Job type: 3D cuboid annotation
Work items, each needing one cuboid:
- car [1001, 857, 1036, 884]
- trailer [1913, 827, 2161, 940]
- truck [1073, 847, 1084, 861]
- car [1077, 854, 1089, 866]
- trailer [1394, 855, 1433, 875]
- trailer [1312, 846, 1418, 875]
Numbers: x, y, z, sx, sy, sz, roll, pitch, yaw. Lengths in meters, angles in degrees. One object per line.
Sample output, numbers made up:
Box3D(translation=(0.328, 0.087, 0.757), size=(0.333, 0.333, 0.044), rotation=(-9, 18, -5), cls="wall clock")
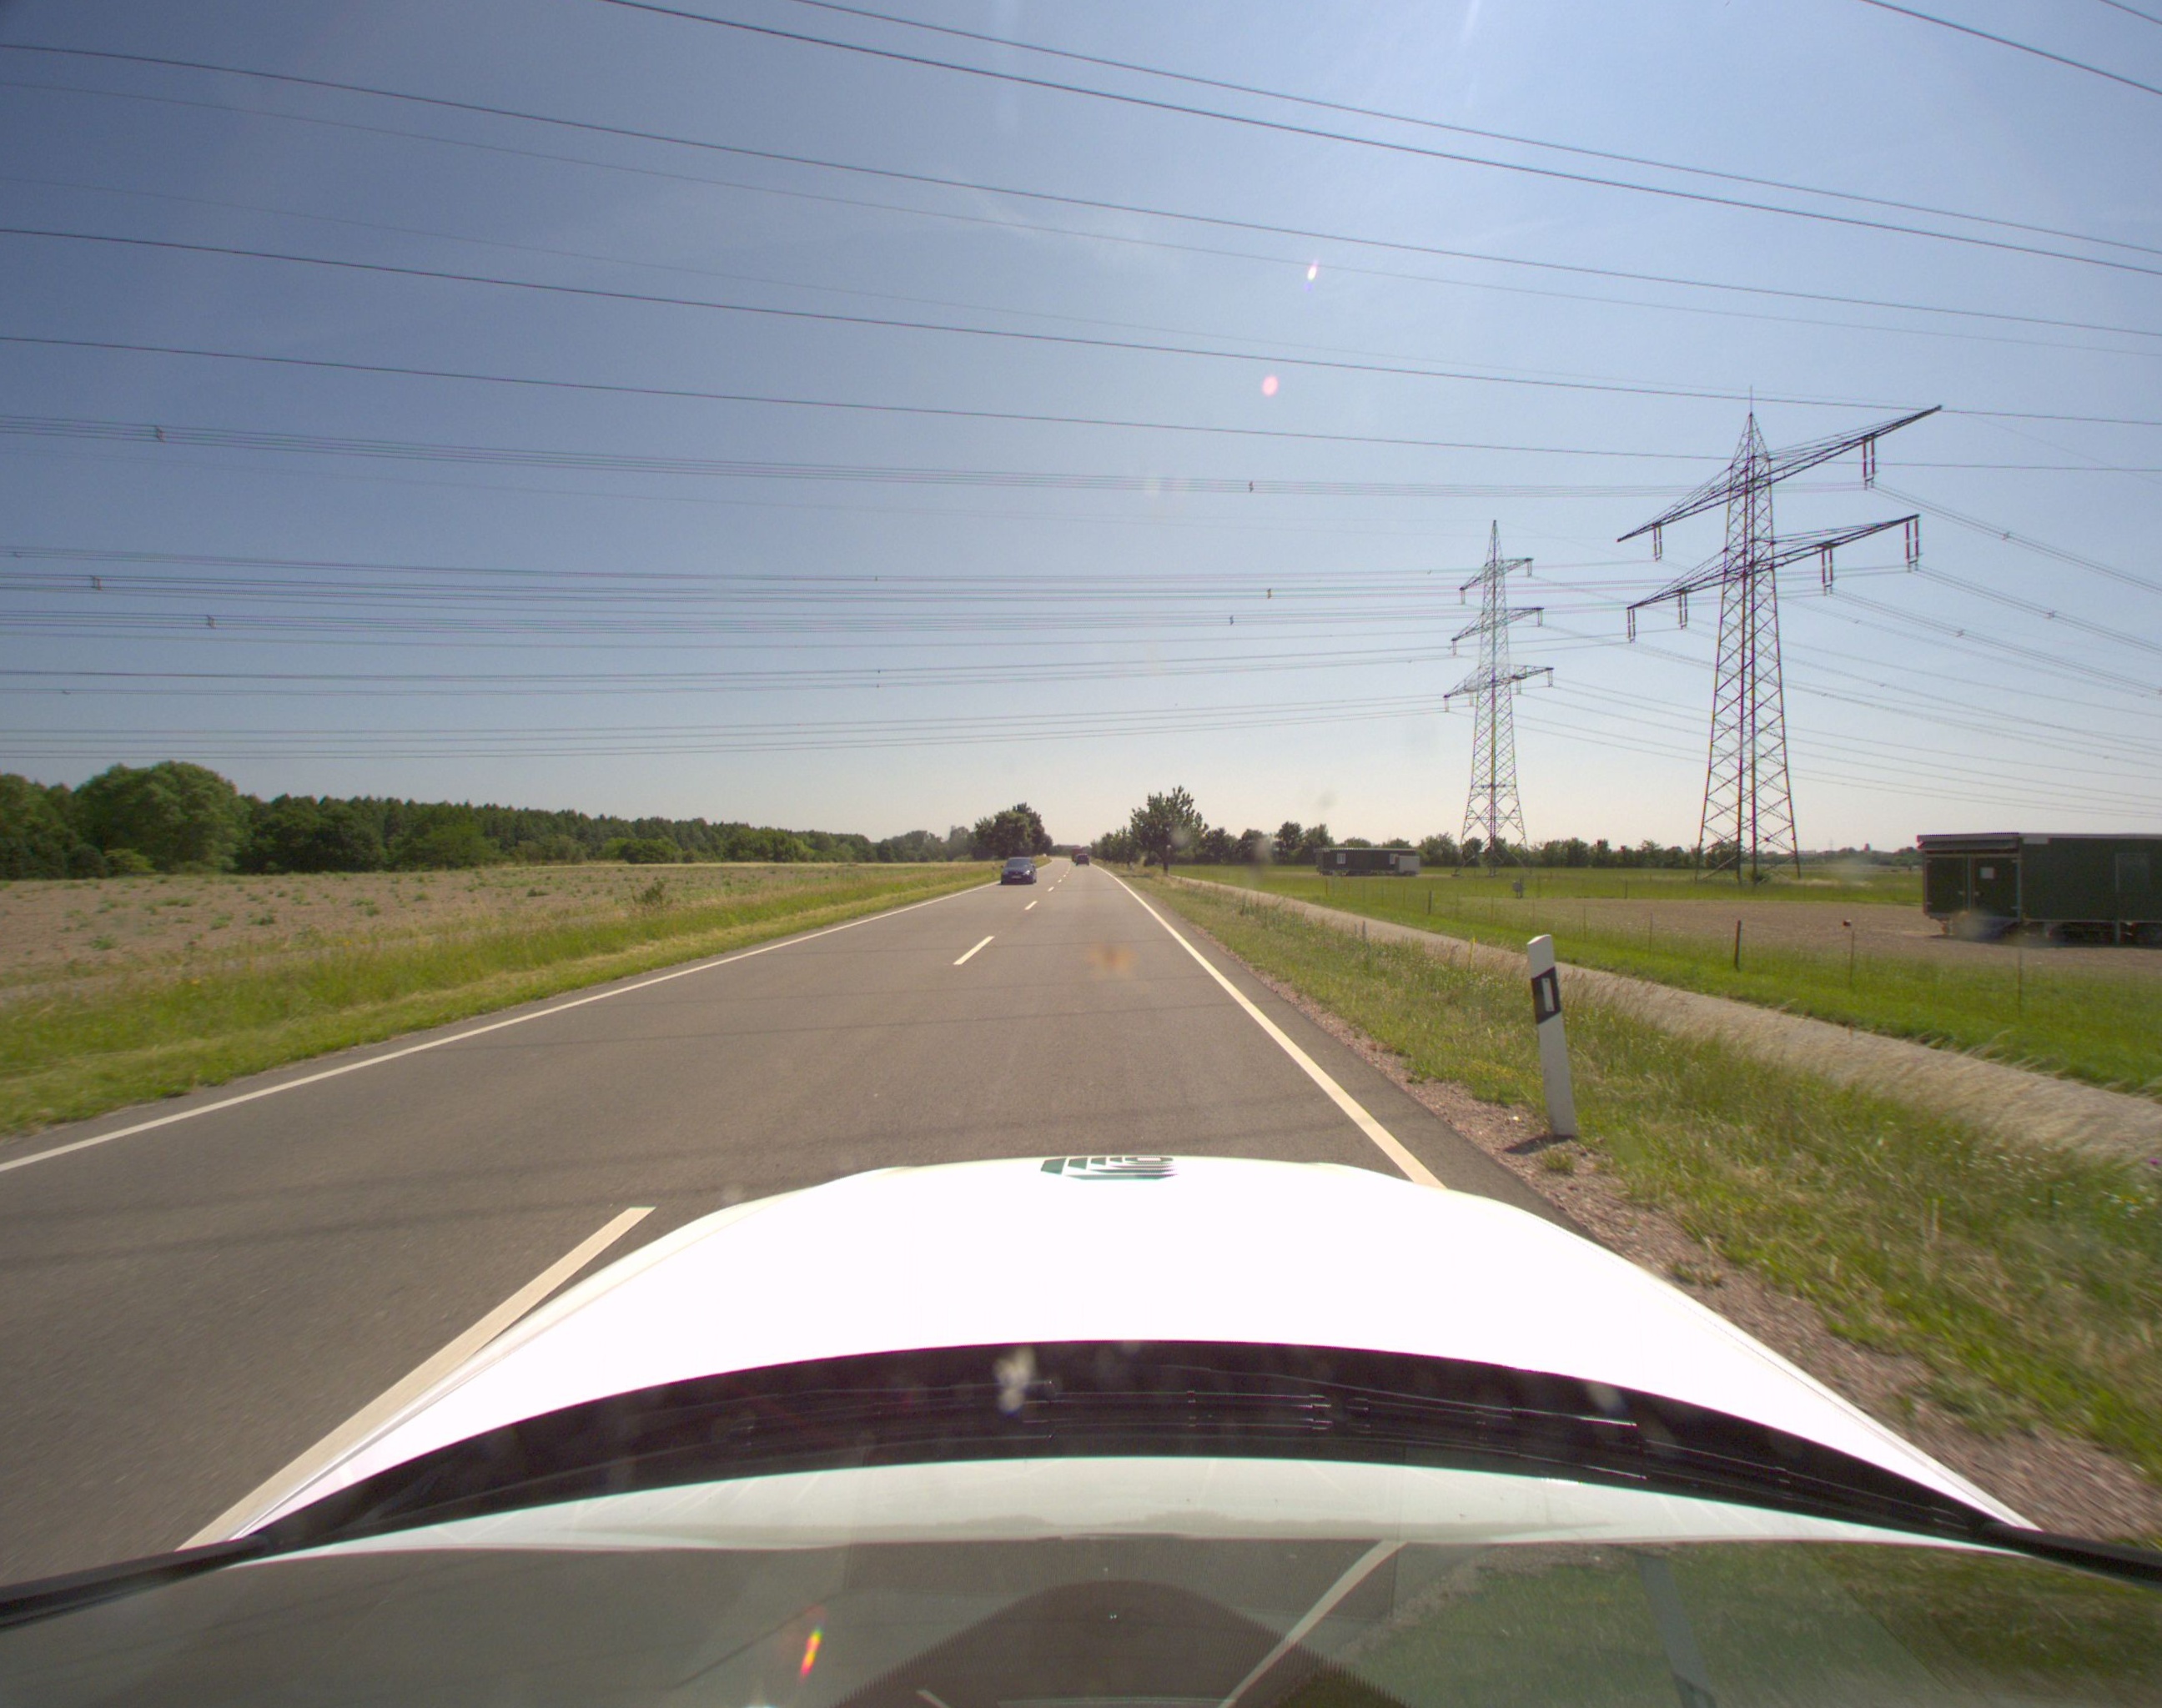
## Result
Box3D(translation=(-3.427, 0.894, 45.246), size=(1.730, 1.447, 3.997), rotation=(-1, 0, -2), cls="car")
Box3D(translation=(35.846, 0.940, 26.945), size=(13.467, 3.475, 3.276), rotation=(0, 0, -1), cls="trailer")
Box3D(translation=(-0.557, 0.035, 188.475), size=(2.364, 3.140, 8.741), rotation=(-1, 0, -1), cls="truck")
Box3D(translation=(0.265, 0.807, 116.936), size=(1.709, 1.694, 3.987), rotation=(-1, 0, -1), cls="car")
Box3D(translation=(41.319, 1.342, 101.318), size=(3.979, 2.443, 1.997), rotation=(1, 0, -4), cls="trailer")
Box3D(translation=(36.268, 0.815, 104.220), size=(12.377, 3.473, 3.803), rotation=(1, 0, -2), cls="trailer")
